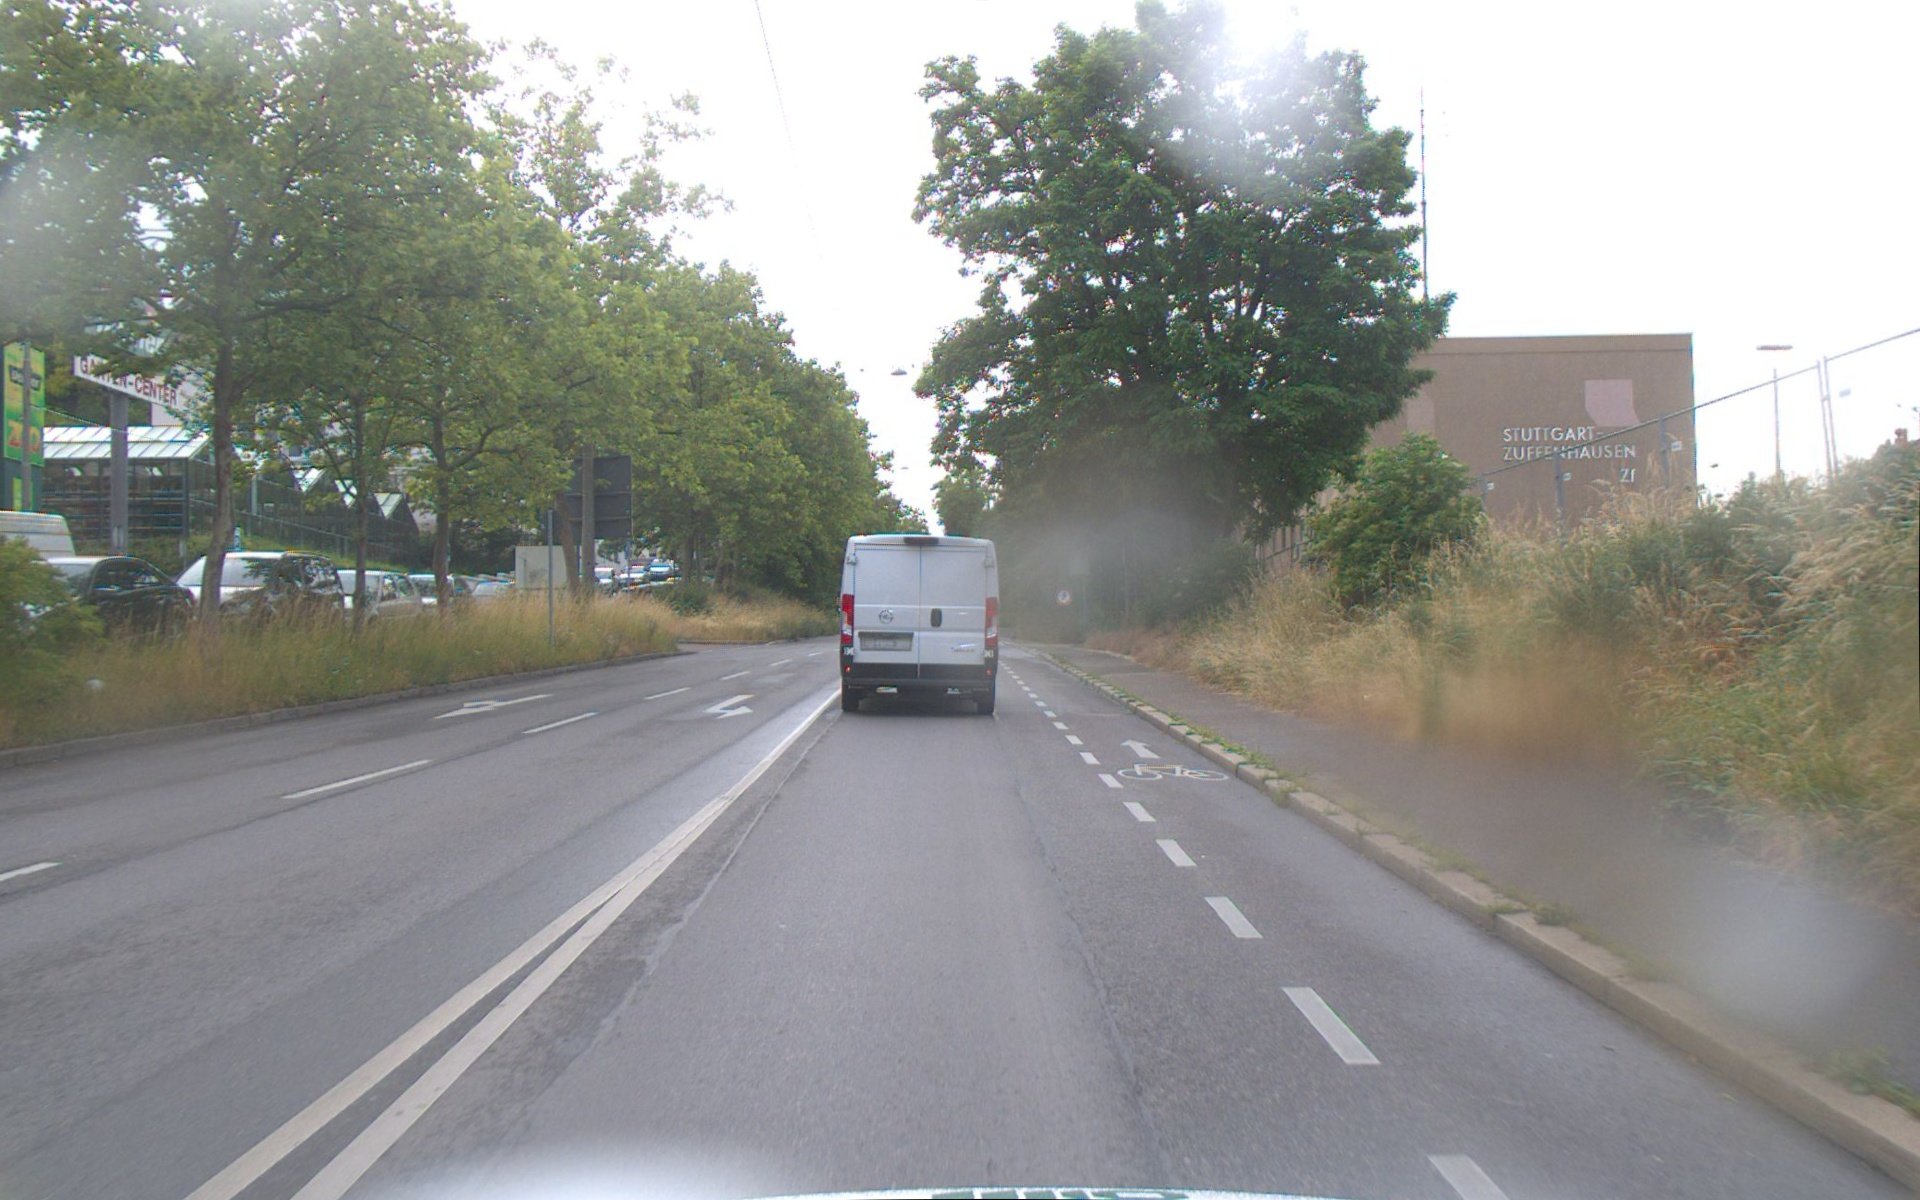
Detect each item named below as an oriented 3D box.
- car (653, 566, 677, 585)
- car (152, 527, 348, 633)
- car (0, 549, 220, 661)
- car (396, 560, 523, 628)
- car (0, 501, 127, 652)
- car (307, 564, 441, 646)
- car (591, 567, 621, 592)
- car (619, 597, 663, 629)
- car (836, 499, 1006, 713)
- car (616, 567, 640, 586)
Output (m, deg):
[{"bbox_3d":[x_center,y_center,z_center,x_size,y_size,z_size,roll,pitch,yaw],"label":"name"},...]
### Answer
[{"bbox_3d":[-23.006,-1.908,128.989,1.568,1.272,2.908,-1,-2,-4],"label":"car"},{"bbox_3d":[-11.130,-0.260,26.194,1.620,1.477,3.643,-1,-2,-2],"label":"car"},{"bbox_3d":[-10.912,0.047,20.423,1.663,1.226,4.218,-1,0,-1],"label":"car"},{"bbox_3d":[-11.179,-0.091,37.216,1.506,1.316,4.543,-1,-2,-1],"label":"car"},{"bbox_3d":[-16.880,-0.397,29.089,1.924,2.486,5.650,-2,1,-5],"label":"car"},{"bbox_3d":[-11.165,0.135,31.719,1.333,1.419,3.706,-1,-2,-2],"label":"car"},{"bbox_3d":[-21.086,-1.199,98.595,1.355,1.321,3.012,-1,-2,-5],"label":"car"},{"bbox_3d":[-12.740,0.535,66.151,1.323,1.150,2.750,-1,-2,-4],"label":"car"},{"bbox_3d":[-0.522,0.055,22.839,2.008,2.560,4.942,2,0,-1],"label":"car"},{"bbox_3d":[-22.613,-1.591,112.584,1.189,1.153,2.451,-1,-2,-2],"label":"car"}]
